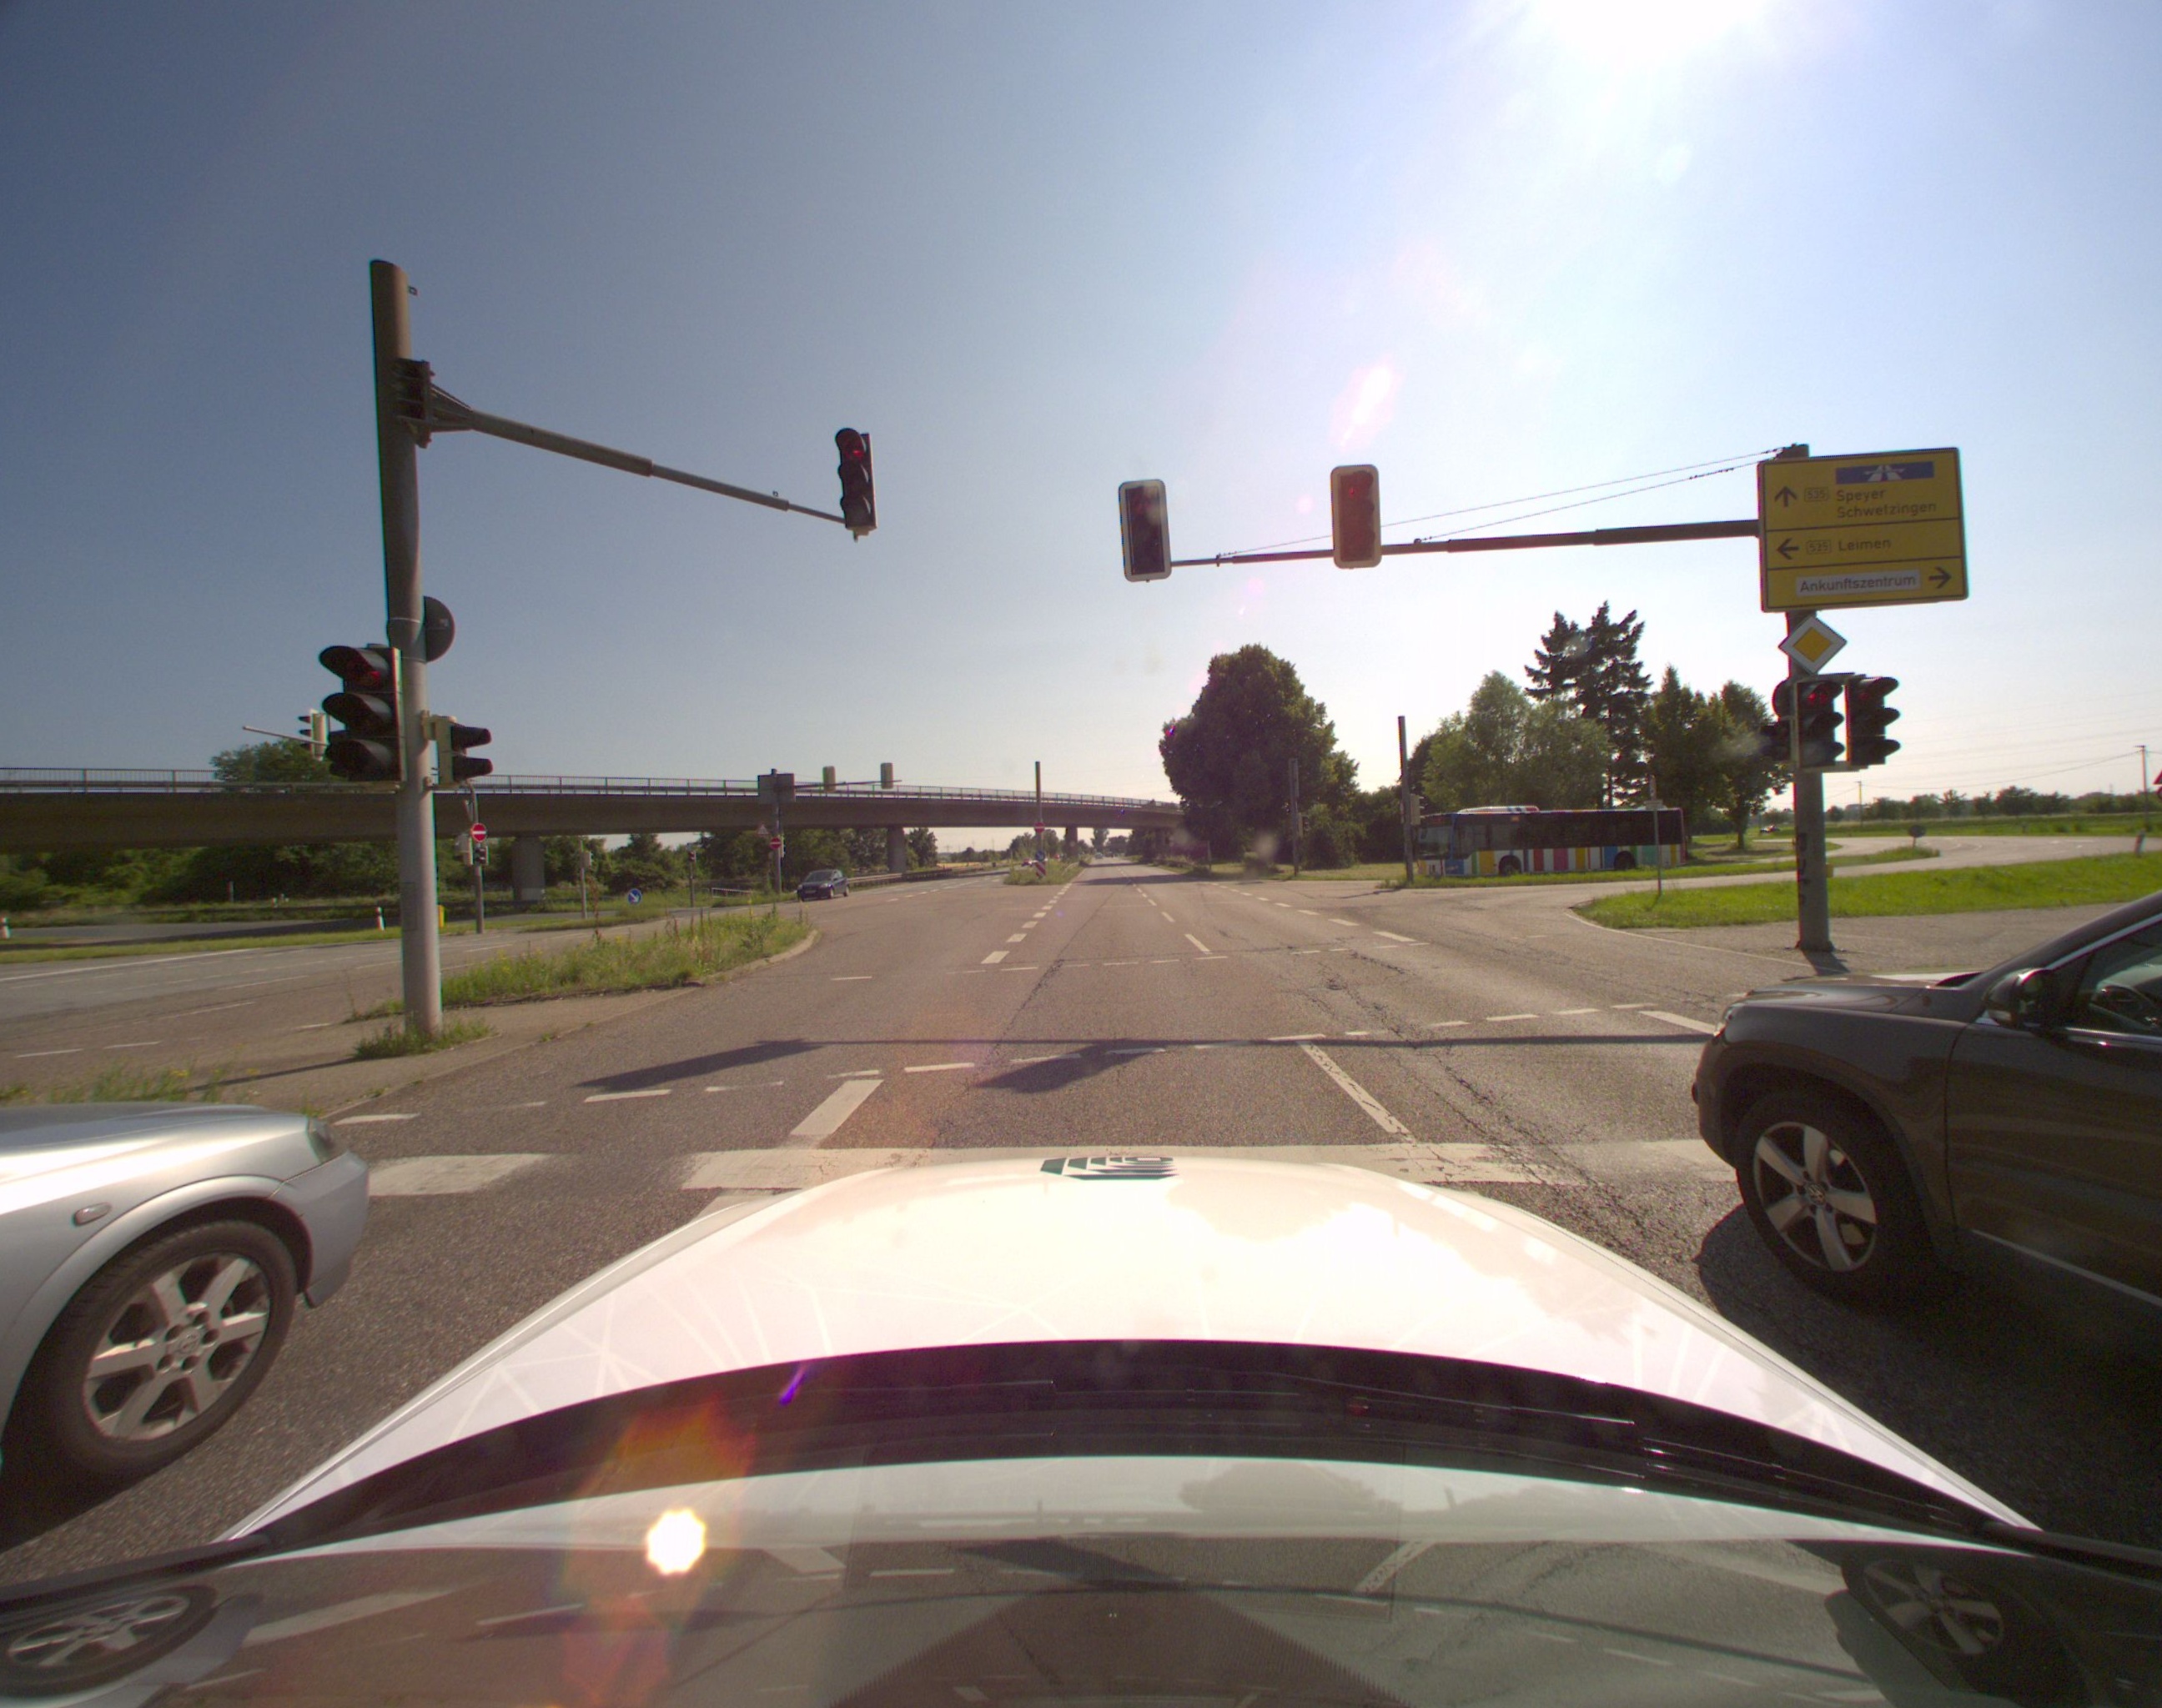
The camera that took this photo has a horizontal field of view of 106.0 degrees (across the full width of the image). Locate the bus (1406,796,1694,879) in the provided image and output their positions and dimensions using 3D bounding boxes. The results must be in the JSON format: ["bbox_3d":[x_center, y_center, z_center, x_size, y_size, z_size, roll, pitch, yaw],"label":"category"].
[{"bbox_3d":[20.234,-0.727,35.124,11.954,2.877,2.928,-3,0,-14],"label":"bus"}]

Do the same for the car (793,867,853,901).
[{"bbox_3d":[-12.894,1.479,40.961,1.608,1.442,3.777,-5,0,2],"label":"car"}]

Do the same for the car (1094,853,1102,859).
[{"bbox_3d":[4.373,0.466,207.006,1.843,1.460,4.003,-4,0,3],"label":"car"}]

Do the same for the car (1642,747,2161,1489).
[{"bbox_3d":[3.272,0.580,1.446,1.749,1.655,4.147,-1,0,1],"label":"car"}]

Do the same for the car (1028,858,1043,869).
[{"bbox_3d":[-6.868,1.455,123.666,1.850,1.448,4.241,-5,0,1],"label":"car"}]

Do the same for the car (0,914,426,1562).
[{"bbox_3d":[-3.260,0.921,0.852,1.667,1.335,4.100,-3,0,2],"label":"car"}]

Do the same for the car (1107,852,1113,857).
[{"bbox_3d":[9.000,0.151,254.808,1.866,1.640,4.003,-2,0,3],"label":"car"}]
